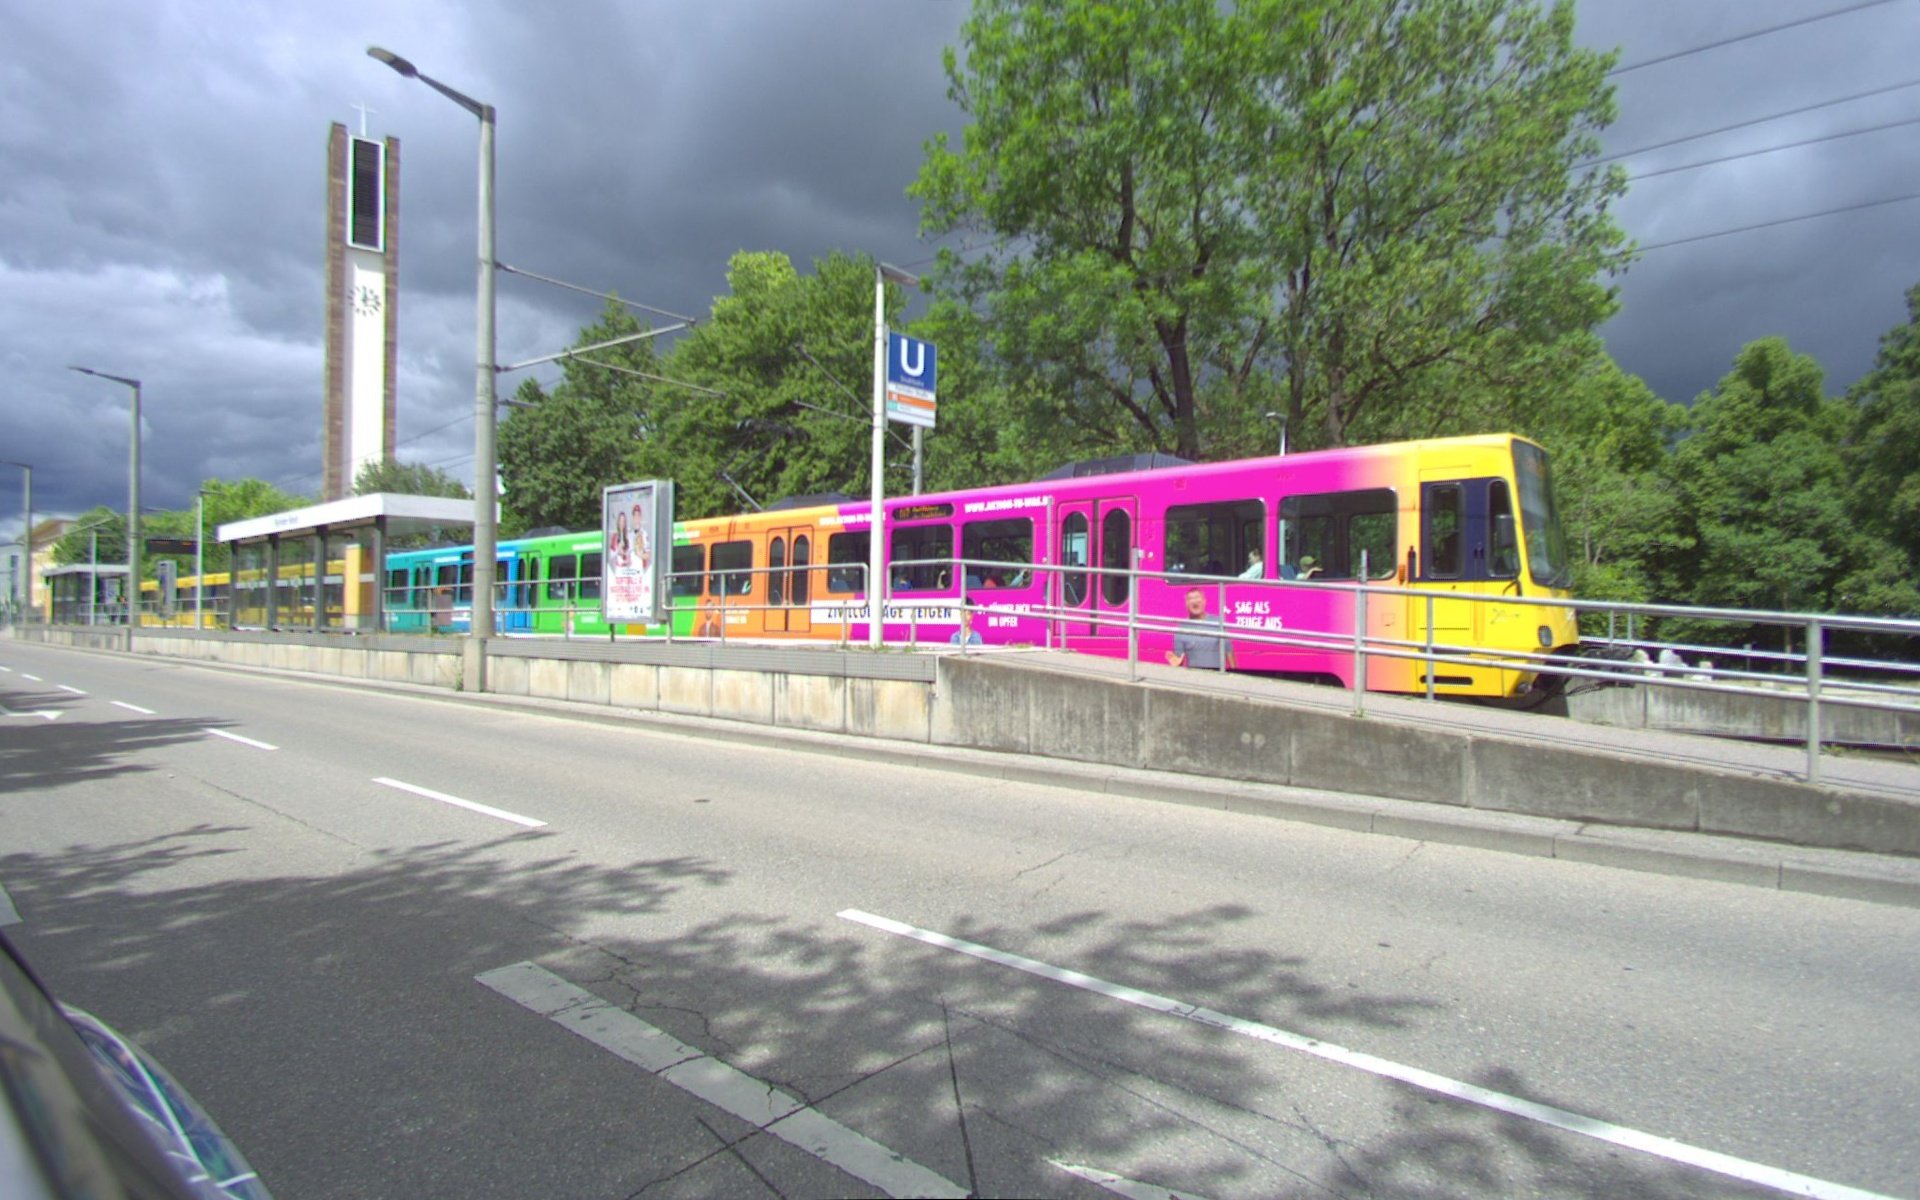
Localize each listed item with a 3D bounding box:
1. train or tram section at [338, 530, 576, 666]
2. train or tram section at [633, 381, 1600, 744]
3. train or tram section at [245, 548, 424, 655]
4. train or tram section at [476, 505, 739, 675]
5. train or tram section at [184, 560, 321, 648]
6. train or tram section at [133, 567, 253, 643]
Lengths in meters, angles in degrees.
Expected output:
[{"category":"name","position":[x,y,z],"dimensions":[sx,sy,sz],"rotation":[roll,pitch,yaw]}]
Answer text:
[{"category":"train or tram section","position":[-17.161,-0.024,33.874],"dimensions":[11.782,3.892,2.949],"rotation":[-1,0,42]},{"category":"train or tram section","position":[0.381,-0.333,18.157],"dimensions":[18.532,3.892,2.949],"rotation":[-1,0,42]},{"category":"train or tram section","position":[-26.106,0.086,41.823],"dimensions":[12.196,3.892,2.949],"rotation":[-1,0,42]},{"category":"train or tram section","position":[-9.672,-0.209,27.138],"dimensions":[8.375,3.892,2.949],"rotation":[-1,0,42]},{"category":"train or tram section","position":[-34.850,0.194,49.607],"dimensions":[11.103,3.892,2.949],"rotation":[-1,0,42]},{"category":"train or tram section","position":[-43.938,0.305,57.695],"dimensions":[13.145,3.892,2.949],"rotation":[-1,0,42]}]
